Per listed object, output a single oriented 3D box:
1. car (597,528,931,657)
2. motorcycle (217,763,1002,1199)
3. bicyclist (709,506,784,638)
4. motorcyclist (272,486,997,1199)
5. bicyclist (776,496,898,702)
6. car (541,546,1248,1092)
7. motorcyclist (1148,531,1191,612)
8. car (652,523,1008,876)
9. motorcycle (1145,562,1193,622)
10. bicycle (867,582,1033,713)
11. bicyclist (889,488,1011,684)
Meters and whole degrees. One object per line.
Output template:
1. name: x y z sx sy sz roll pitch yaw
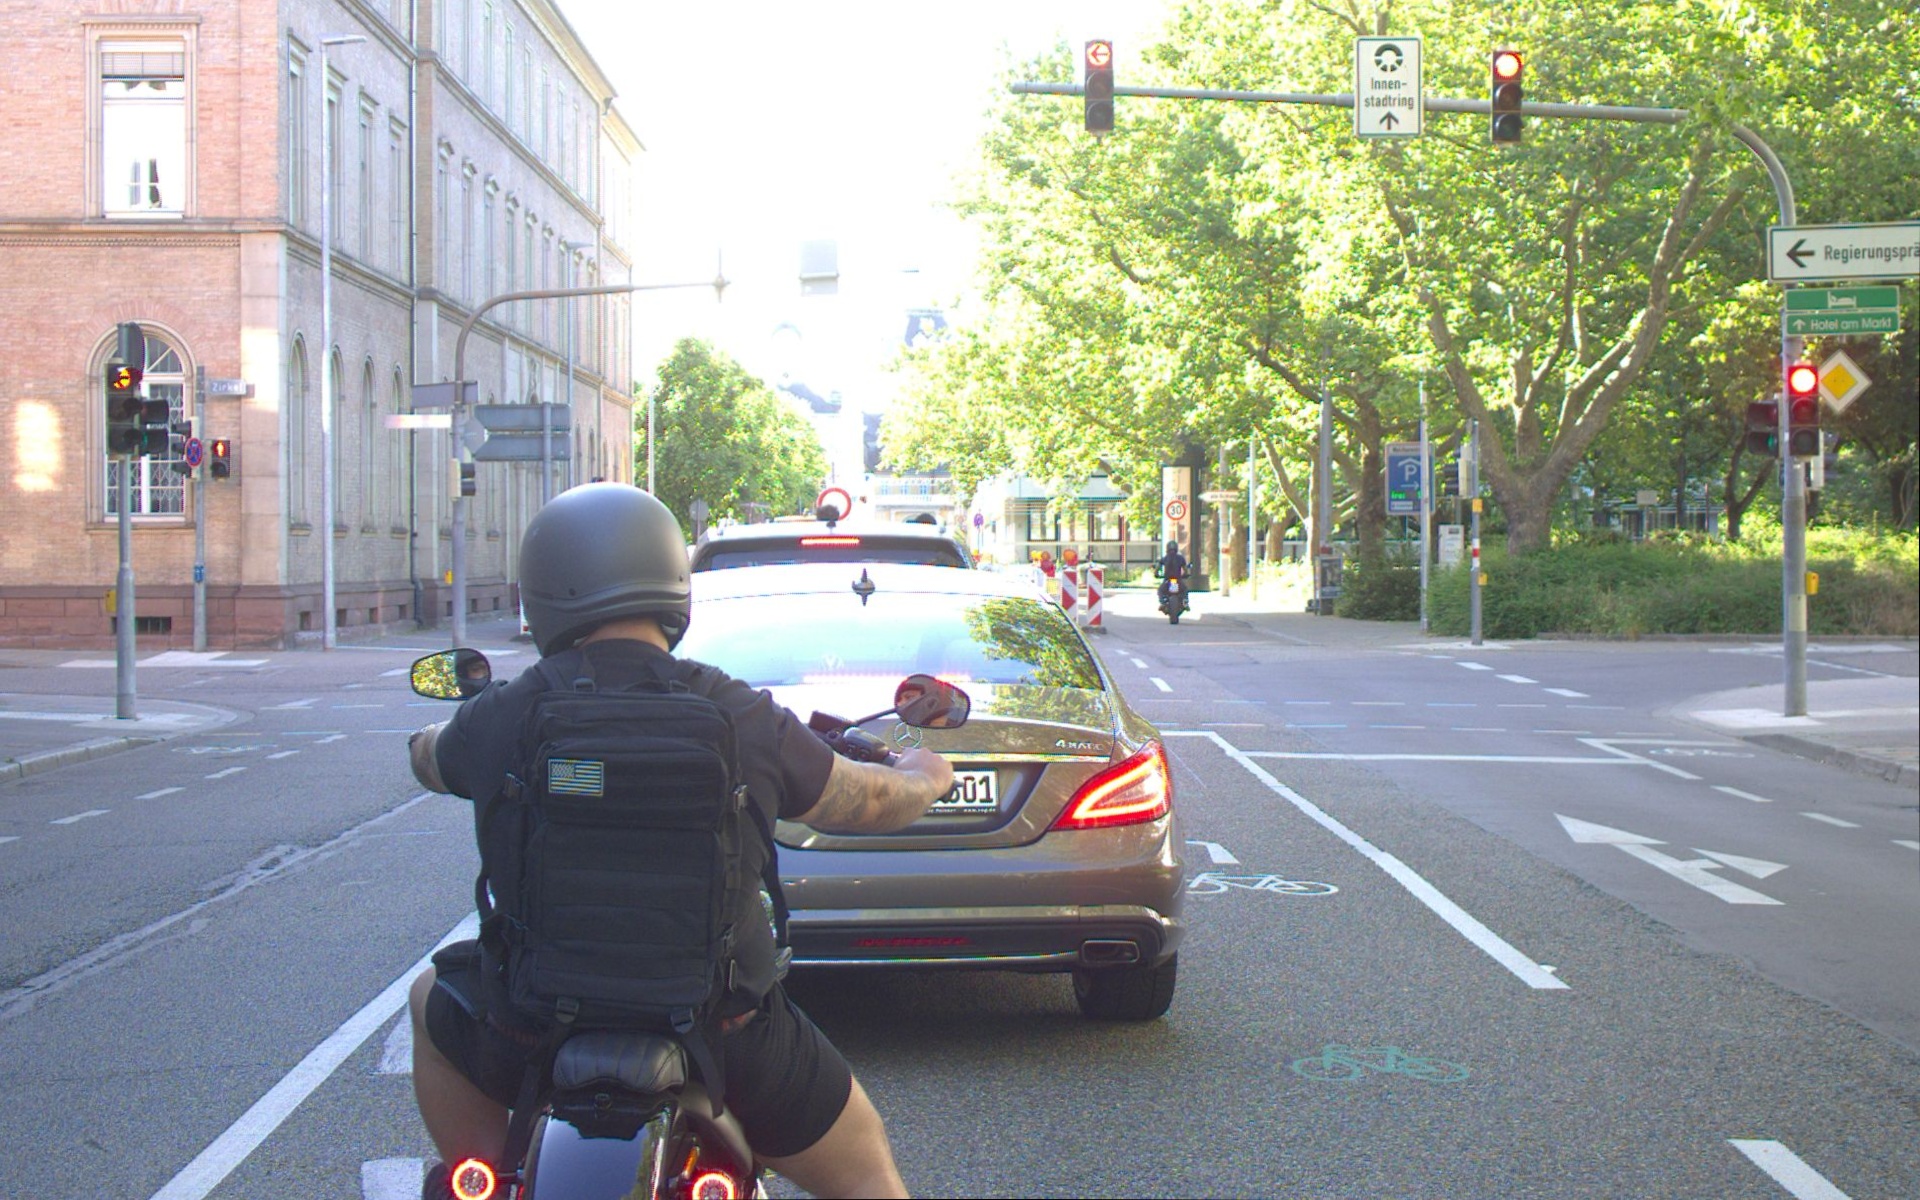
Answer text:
1. car: -2.423 -0.096 41.920 3.894 1.481 1.862 1 0 -8
2. motorcycle: -0.456 0.882 5.571 0.989 1.075 2.452 0 1 -1
3. bicyclist: -2.830 -0.372 45.561 0.975 1.737 0.609 0 1 -5
4. motorcyclist: -0.452 0.627 5.413 0.989 1.591 1.404 0 1 -1
5. bicyclist: -1.033 -0.020 28.743 0.703 1.687 0.965 -1 1 -24
6. car: -0.432 0.560 11.607 1.945 1.468 4.363 0 1 -7
7. motorcyclist: 4.424 -0.599 72.684 0.838 1.697 1.180 0 1 -1
8. car: -0.638 0.410 17.773 1.612 1.602 4.329 0 1 -1
9. motorcycle: 4.409 -0.182 72.696 0.838 1.241 2.283 0 1 -1
10. bicycle: -0.108 0.399 30.318 0.703 1.099 2.164 -1 0 -21
11. bicyclist: -0.098 -0.125 30.231 0.703 1.689 1.048 -1 0 -22
